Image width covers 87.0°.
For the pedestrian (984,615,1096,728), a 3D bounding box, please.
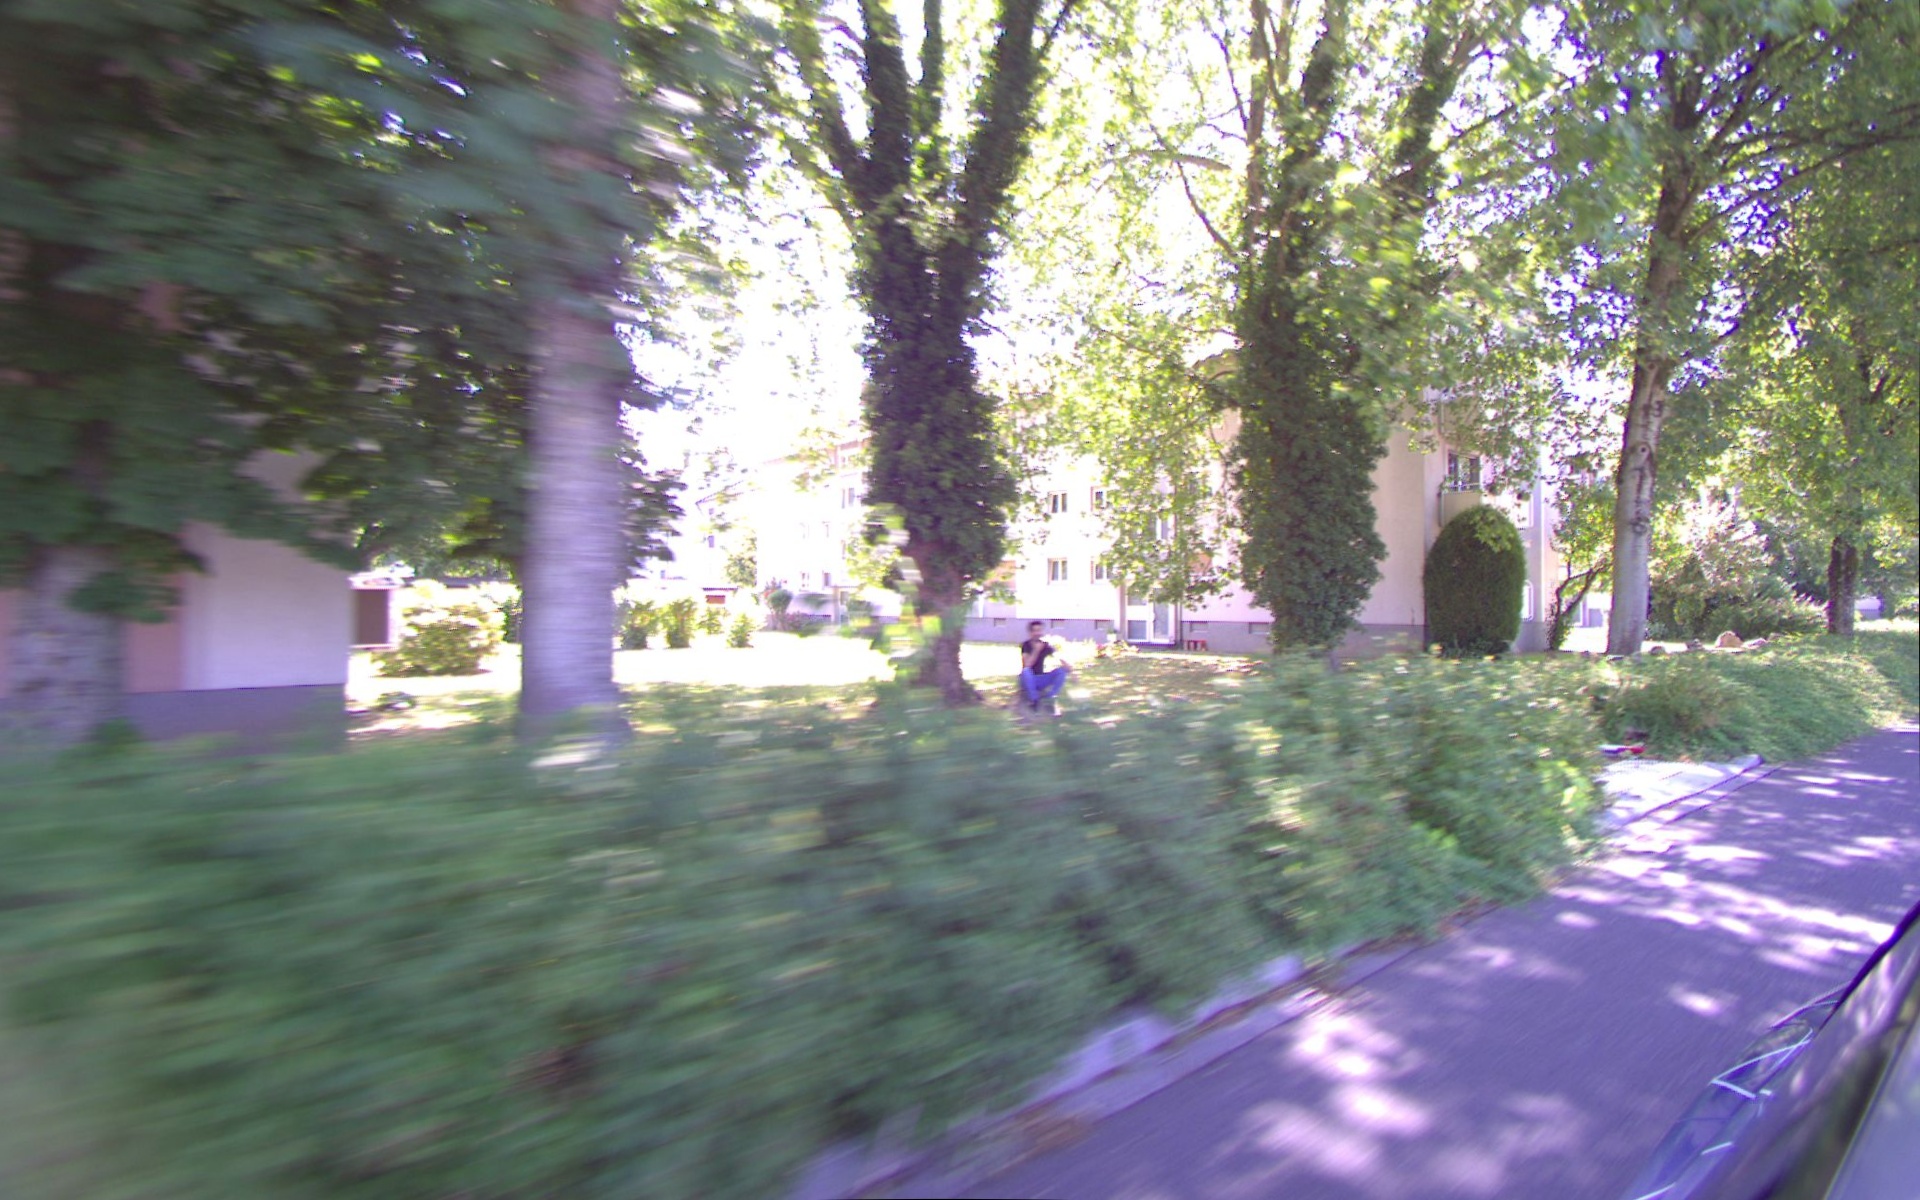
[{"bbox_3d":[0.979,0.854,12.561,1.047,1.309,0.943,0,-1,-28],"label":"pedestrian"}]
